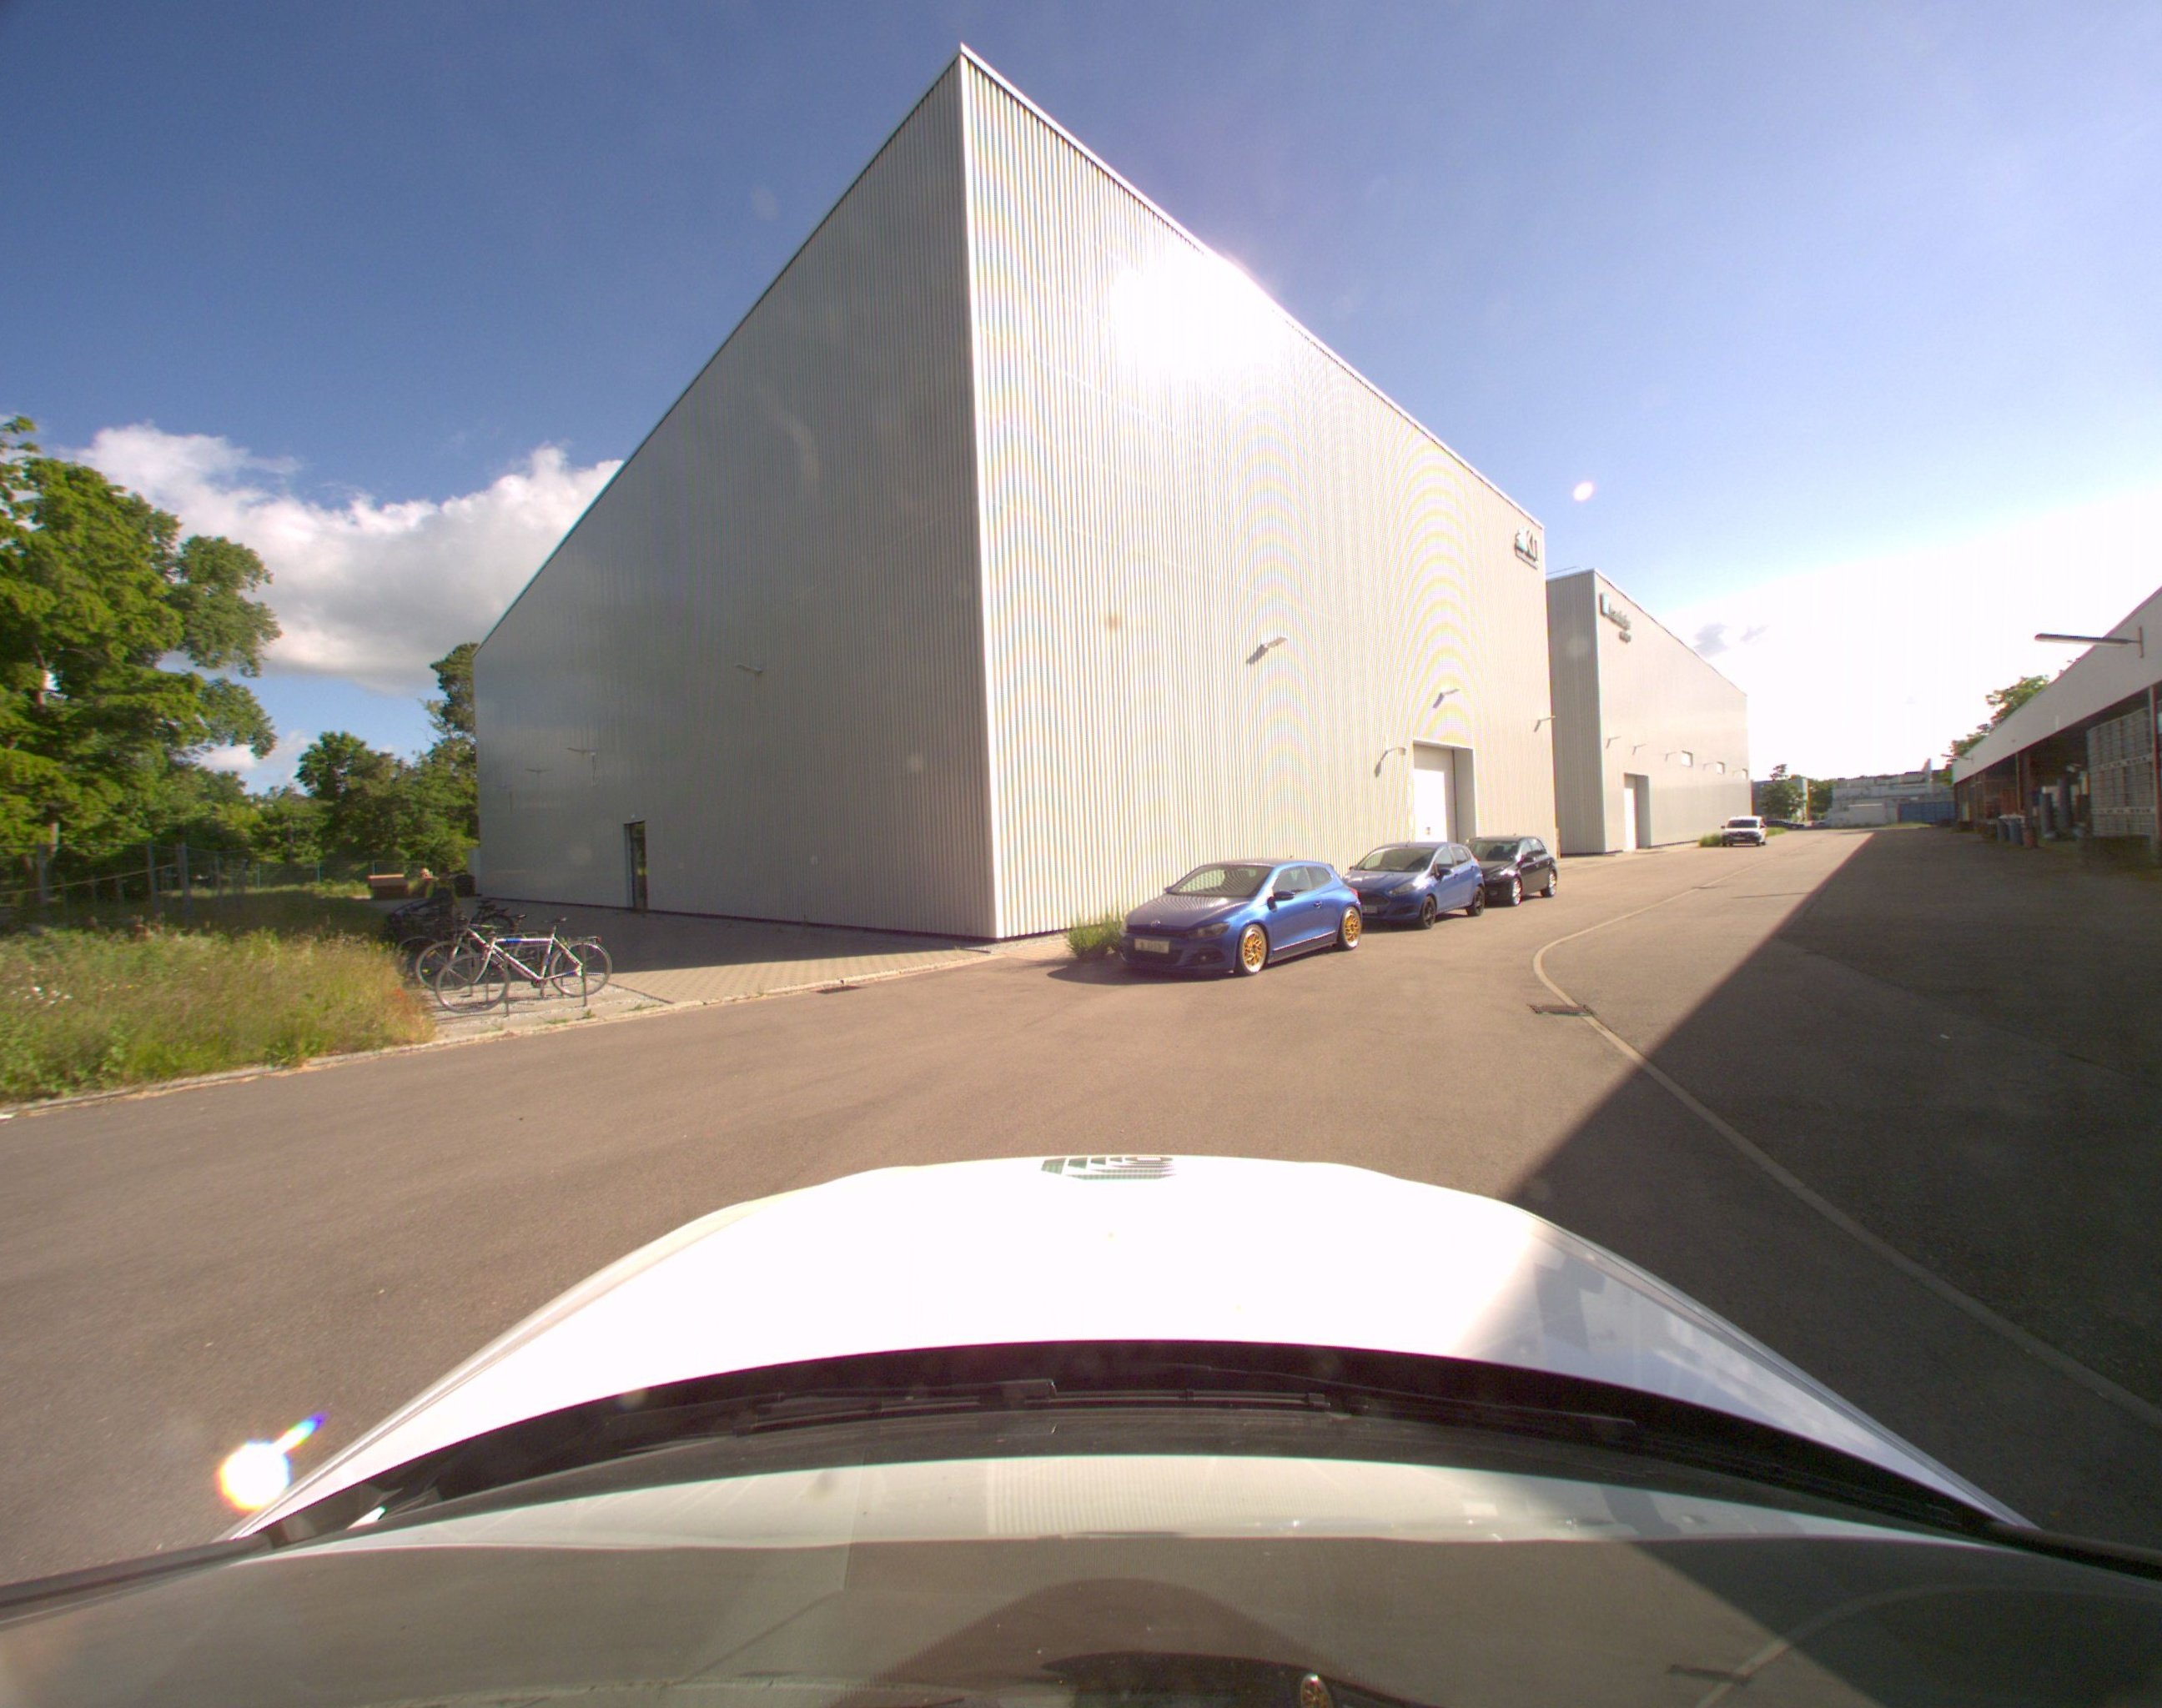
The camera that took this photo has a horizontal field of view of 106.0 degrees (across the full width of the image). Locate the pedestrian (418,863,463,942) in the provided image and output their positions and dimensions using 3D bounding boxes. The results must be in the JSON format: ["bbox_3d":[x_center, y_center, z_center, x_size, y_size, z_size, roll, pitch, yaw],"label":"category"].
[{"bbox_3d":[-14.482,1.079,18.421,0.511,1.728,0.633,-3,0,-11],"label":"pedestrian"}]

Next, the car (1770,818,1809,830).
[{"bbox_3d":[95.833,-4.053,110.137,3.849,1.461,1.633,-2,0,45],"label":"car"}]

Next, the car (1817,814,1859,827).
[{"bbox_3d":[98.425,-4.368,105.951,1.632,1.461,3.850,-3,0,-42],"label":"car"}]

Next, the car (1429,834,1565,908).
[{"bbox_3d":[9.593,0.302,18.651,3.901,1.446,1.635,-3,3,-45],"label":"car"}]

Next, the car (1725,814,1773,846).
[{"bbox_3d":[40.205,-1.458,48.994,1.890,1.794,4.024,-2,0,43],"label":"car"}]

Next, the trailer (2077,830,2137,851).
[{"bbox_3d":[29.823,-0.399,23.687,0.961,0.567,0.737,0,4,41],"label":"trailer"}]

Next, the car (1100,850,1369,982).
[{"bbox_3d":[2.235,0.685,11.107,1.653,1.350,3.977,0,2,44],"label":"car"}]

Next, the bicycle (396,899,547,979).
[{"bbox_3d":[-10.088,1.374,13.535,0.519,1.094,1.905,-3,0,44],"label":"bicycle"}]

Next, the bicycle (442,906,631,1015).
[{"bbox_3d":[-6.566,1.235,9.916,0.453,1.062,1.817,-2,0,40],"label":"bicycle"}]

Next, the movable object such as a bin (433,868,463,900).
[{"bbox_3d":[-41.824,1.939,53.816,1.431,2.013,1.112,-3,0,-40],"label":"movable object such as a bin"}]

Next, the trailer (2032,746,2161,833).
[{"bbox_3d":[45.797,-2.823,34.806,6.329,3.370,2.842,-4,-1,45],"label":"trailer"}]

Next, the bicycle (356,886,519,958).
[{"bbox_3d":[-13.864,1.414,17.628,2.653,1.266,1.127,-3,0,-40],"label":"bicycle"}]

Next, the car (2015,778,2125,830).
[{"bbox_3d":[52.863,-2.626,43.628,2.012,2.441,3.473,-3,-1,-44],"label":"car"}]

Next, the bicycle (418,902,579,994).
[{"bbox_3d":[-8.339,1.303,11.720,1.808,1.082,0.518,-3,0,-43],"label":"bicycle"}]

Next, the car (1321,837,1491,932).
[{"bbox_3d":[6.120,0.472,15.107,1.604,1.447,3.787,-1,1,44],"label":"car"}]
